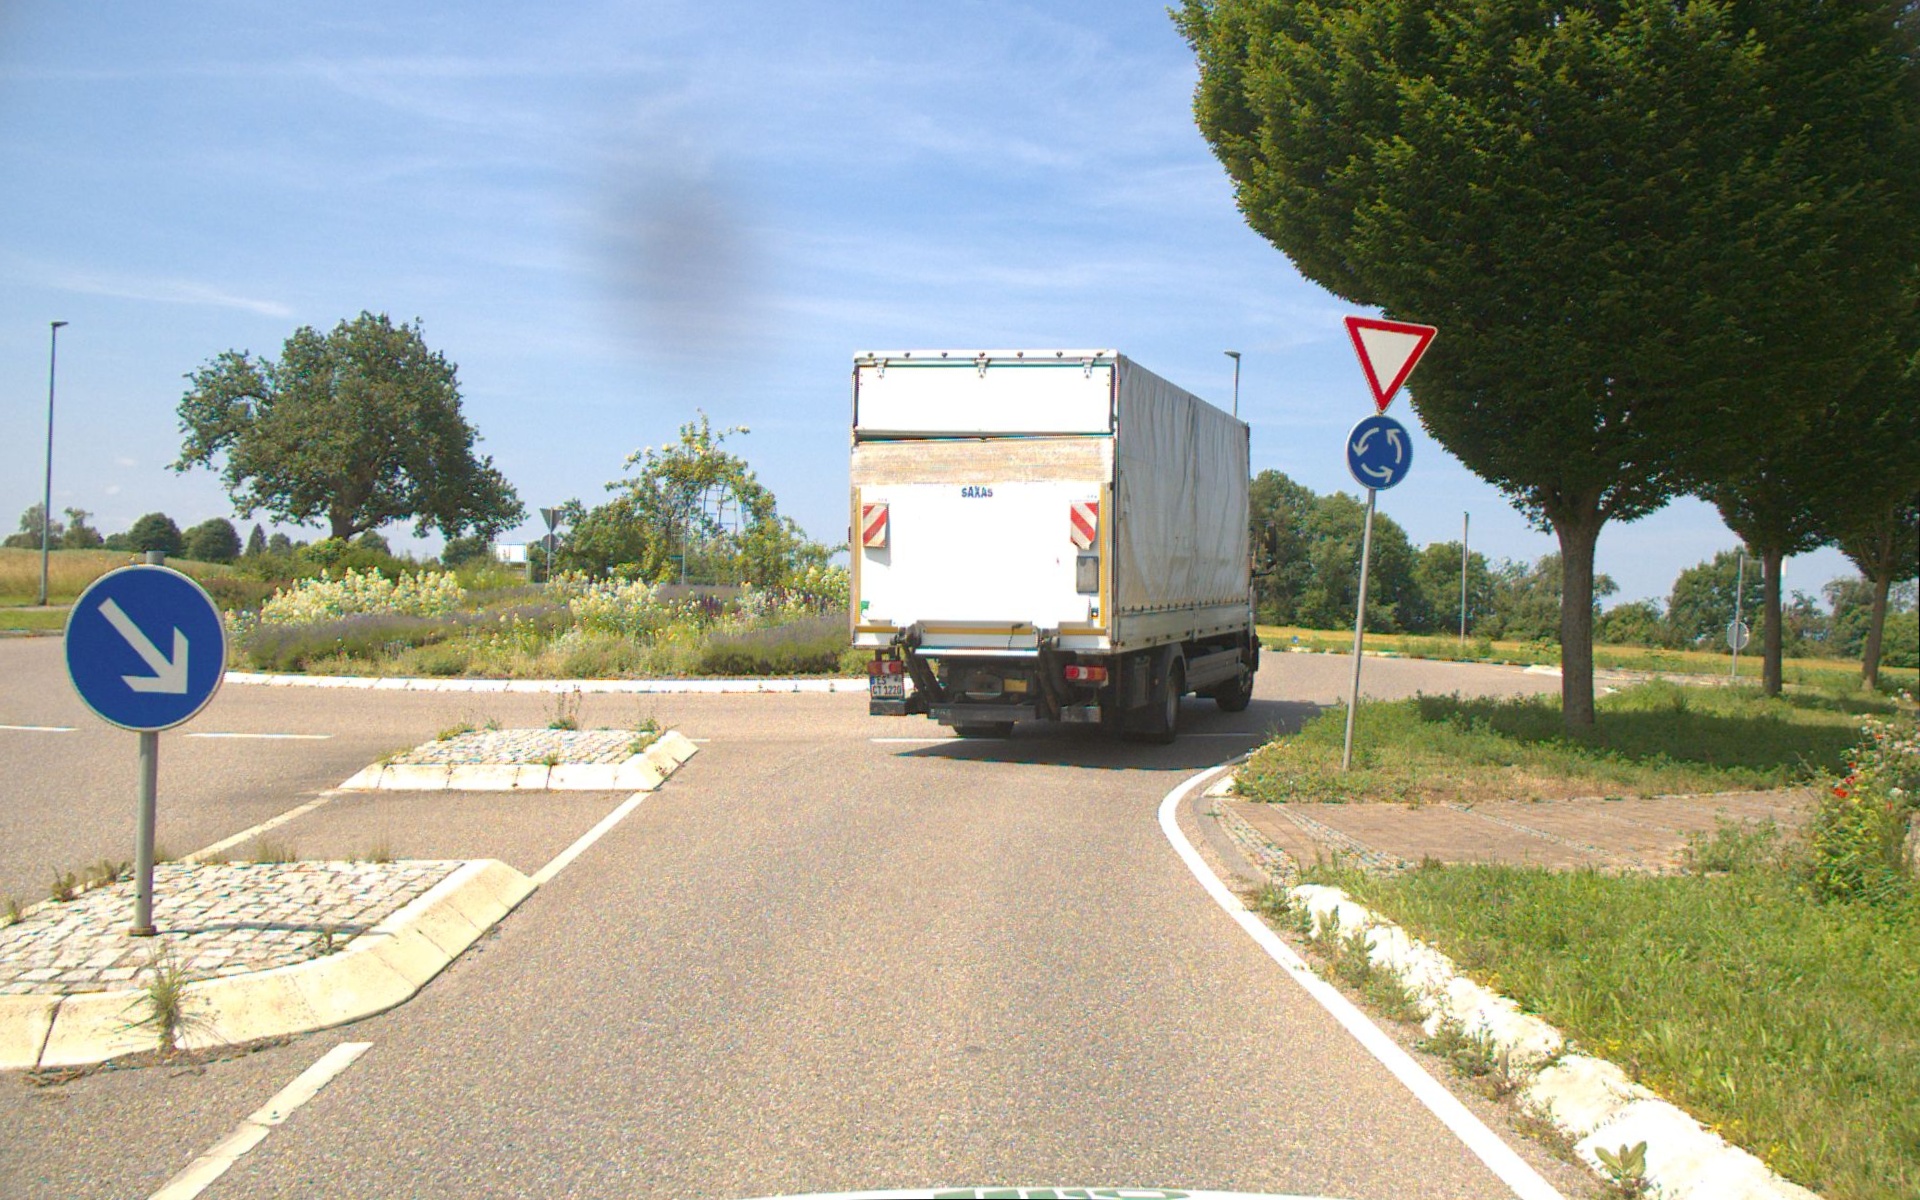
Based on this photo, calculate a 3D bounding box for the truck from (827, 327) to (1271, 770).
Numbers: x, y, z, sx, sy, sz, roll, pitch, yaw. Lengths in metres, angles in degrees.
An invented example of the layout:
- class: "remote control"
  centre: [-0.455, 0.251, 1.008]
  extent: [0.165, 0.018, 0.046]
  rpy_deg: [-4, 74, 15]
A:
- class: "truck"
  centre: [1.555, -0.471, 18.823]
  extent: [2.709, 3.735, 9.387]
  rpy_deg: [1, 0, 18]
